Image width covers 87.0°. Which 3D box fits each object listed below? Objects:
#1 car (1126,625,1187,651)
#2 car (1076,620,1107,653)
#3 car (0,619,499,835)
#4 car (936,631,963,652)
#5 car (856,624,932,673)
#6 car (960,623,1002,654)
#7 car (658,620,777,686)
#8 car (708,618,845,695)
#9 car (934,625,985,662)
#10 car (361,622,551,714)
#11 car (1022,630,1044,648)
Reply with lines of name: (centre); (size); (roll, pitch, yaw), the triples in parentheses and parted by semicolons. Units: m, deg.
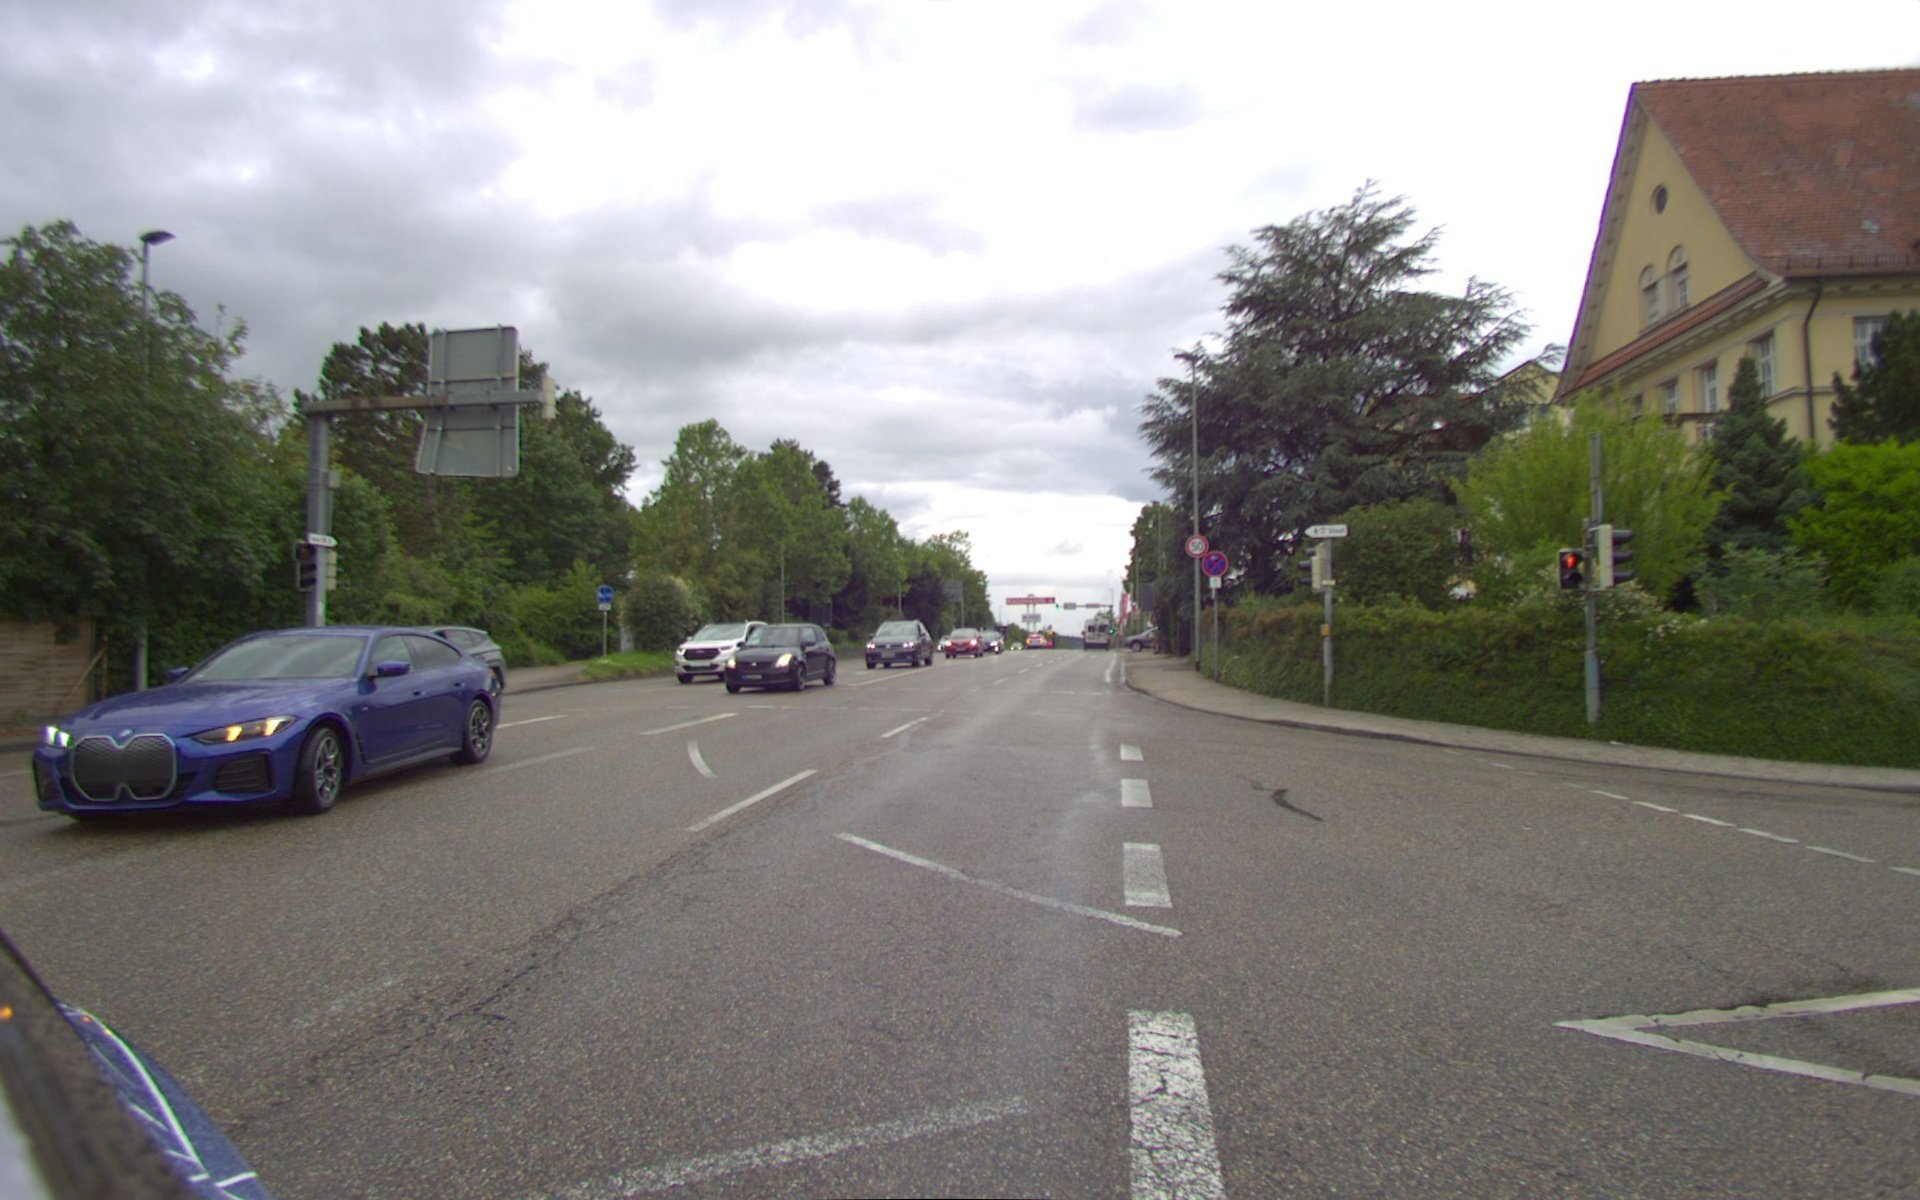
car: (13.239, 2.565, 68.194); (3.899, 1.664, 1.710); (-1, -1, 16)
car: (10.490, 2.862, 80.224); (2.278, 2.547, 5.757); (-1, -1, 9)
car: (-5.852, 0.890, 8.875); (1.779, 1.418, 4.273); (-1, -1, -2)
car: (-0.911, 3.770, 92.256); (1.796, 1.630, 3.898); (-3, -1, 8)
car: (-2.249, 1.655, 35.525); (1.788, 1.564, 3.988); (-1, -1, 9)
car: (1.299, 2.282, 60.970); (1.908, 1.731, 4.087); (-2, -2, 9)
car: (-6.819, 1.462, 28.891); (1.958, 1.634, 3.832); (-3, -1, 8)
car: (-4.069, 1.243, 23.097); (1.788, 1.564, 4.210); (-1, -2, 9)
car: (0.002, 2.175, 51.515); (1.908, 1.731, 4.087); (-3, -2, 9)
car: (-10.271, 1.331, 20.954); (1.686, 1.634, 3.834); (-3, -1, 6)
car: (7.737, 4.116, 106.976); (1.908, 1.731, 4.087); (-5, -2, 9)
